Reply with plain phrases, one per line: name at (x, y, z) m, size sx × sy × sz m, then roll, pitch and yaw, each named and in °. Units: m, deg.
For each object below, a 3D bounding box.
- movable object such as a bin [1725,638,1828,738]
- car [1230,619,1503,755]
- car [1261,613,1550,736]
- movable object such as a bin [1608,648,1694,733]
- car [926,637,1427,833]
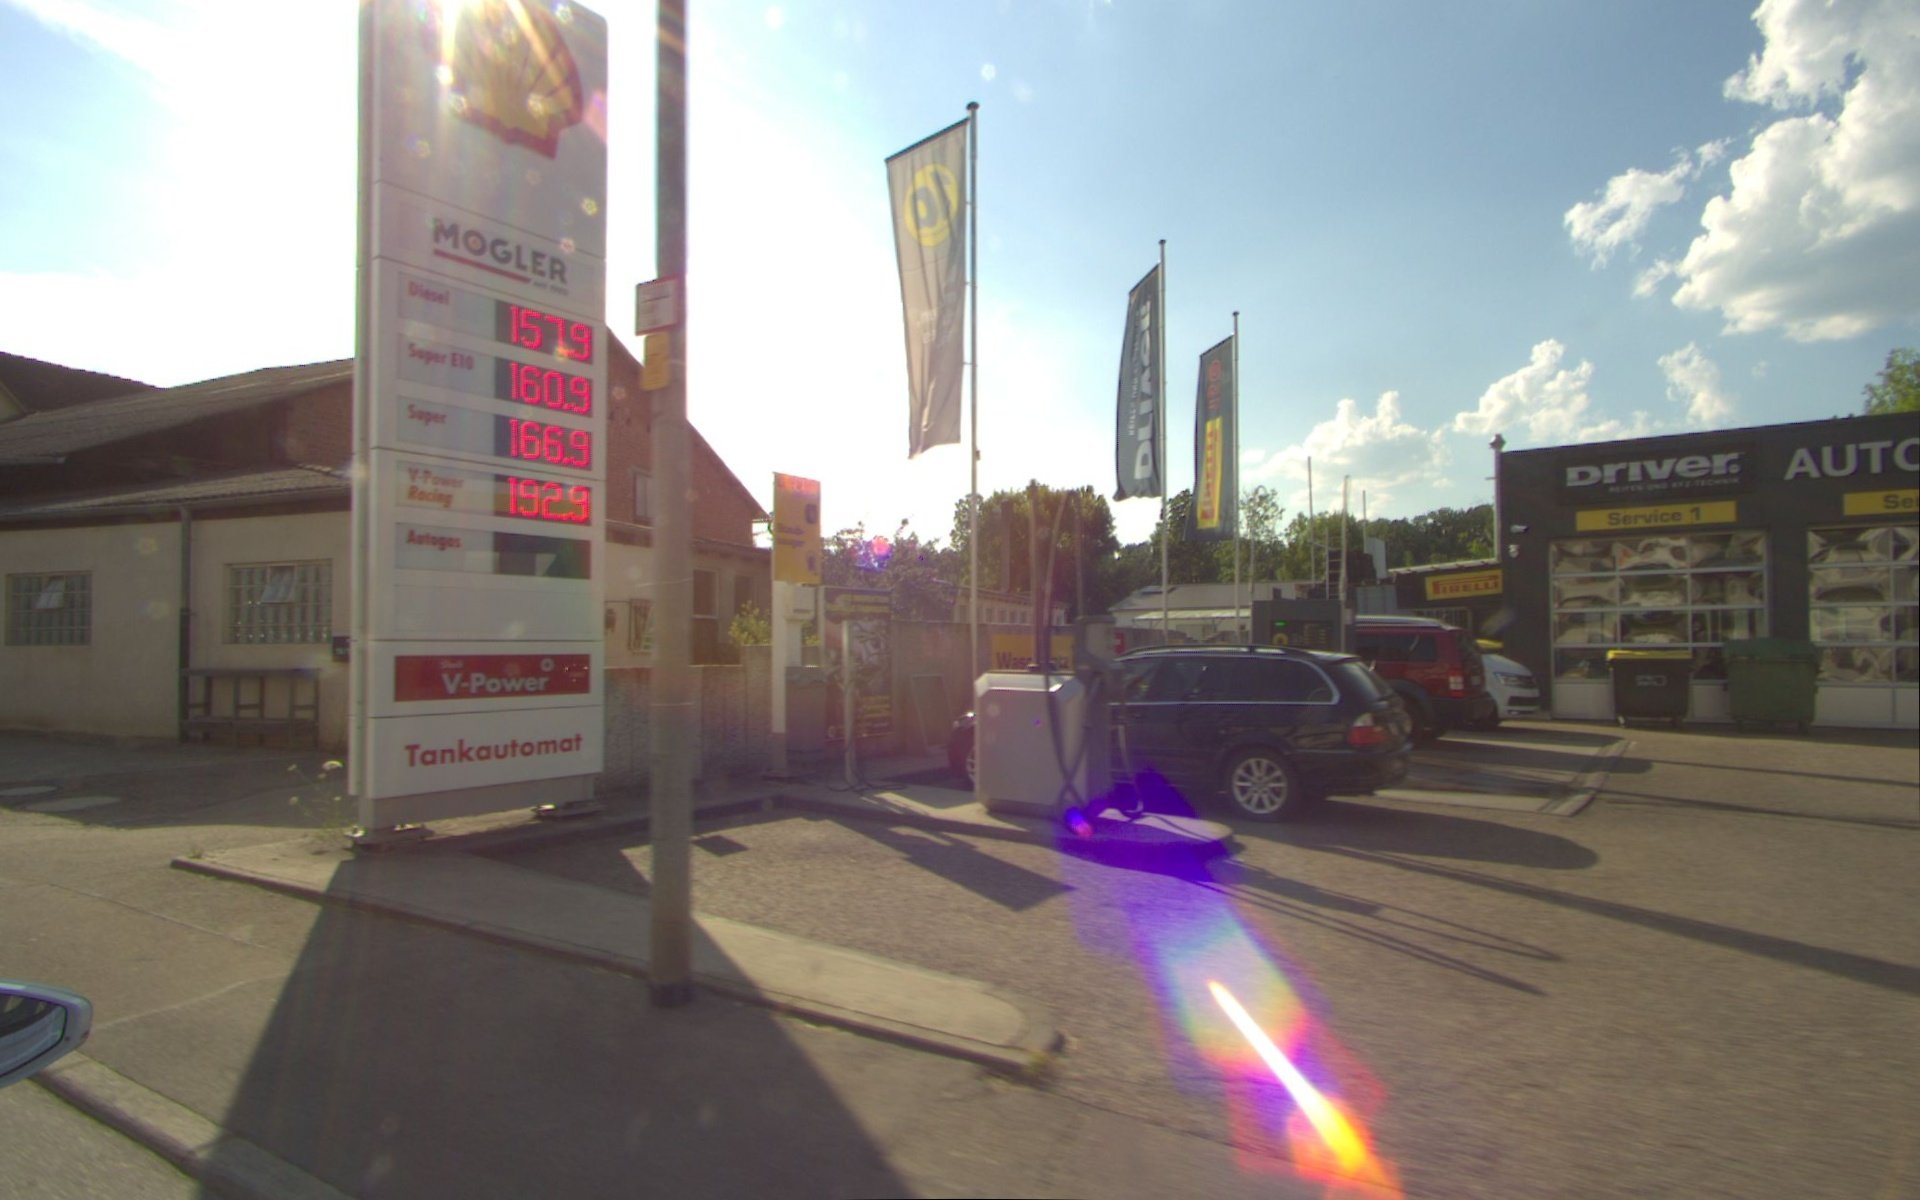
movable object such as a bin at (13.338, 1.408, 16.402) m, size 1.192 × 1.549 × 0.986 m, roll -1°, pitch -1°, yaw 33°
car at (6.132, 1.219, 15.275) m, size 3.585 × 1.815 × 1.572 m, roll 0°, pitch -1°, yaw 37°
car at (7.870, 1.225, 17.917) m, size 4.494 × 1.948 × 1.572 m, roll 0°, pitch -1°, yaw 37°
movable object such as a bin at (11.973, 1.535, 17.401) m, size 1.110 × 1.393 × 0.987 m, roll 0°, pitch -1°, yaw 29°
car at (1.899, 1.090, 9.355) m, size 4.319 × 1.445 × 1.575 m, roll -1°, pitch -3°, yaw 33°
